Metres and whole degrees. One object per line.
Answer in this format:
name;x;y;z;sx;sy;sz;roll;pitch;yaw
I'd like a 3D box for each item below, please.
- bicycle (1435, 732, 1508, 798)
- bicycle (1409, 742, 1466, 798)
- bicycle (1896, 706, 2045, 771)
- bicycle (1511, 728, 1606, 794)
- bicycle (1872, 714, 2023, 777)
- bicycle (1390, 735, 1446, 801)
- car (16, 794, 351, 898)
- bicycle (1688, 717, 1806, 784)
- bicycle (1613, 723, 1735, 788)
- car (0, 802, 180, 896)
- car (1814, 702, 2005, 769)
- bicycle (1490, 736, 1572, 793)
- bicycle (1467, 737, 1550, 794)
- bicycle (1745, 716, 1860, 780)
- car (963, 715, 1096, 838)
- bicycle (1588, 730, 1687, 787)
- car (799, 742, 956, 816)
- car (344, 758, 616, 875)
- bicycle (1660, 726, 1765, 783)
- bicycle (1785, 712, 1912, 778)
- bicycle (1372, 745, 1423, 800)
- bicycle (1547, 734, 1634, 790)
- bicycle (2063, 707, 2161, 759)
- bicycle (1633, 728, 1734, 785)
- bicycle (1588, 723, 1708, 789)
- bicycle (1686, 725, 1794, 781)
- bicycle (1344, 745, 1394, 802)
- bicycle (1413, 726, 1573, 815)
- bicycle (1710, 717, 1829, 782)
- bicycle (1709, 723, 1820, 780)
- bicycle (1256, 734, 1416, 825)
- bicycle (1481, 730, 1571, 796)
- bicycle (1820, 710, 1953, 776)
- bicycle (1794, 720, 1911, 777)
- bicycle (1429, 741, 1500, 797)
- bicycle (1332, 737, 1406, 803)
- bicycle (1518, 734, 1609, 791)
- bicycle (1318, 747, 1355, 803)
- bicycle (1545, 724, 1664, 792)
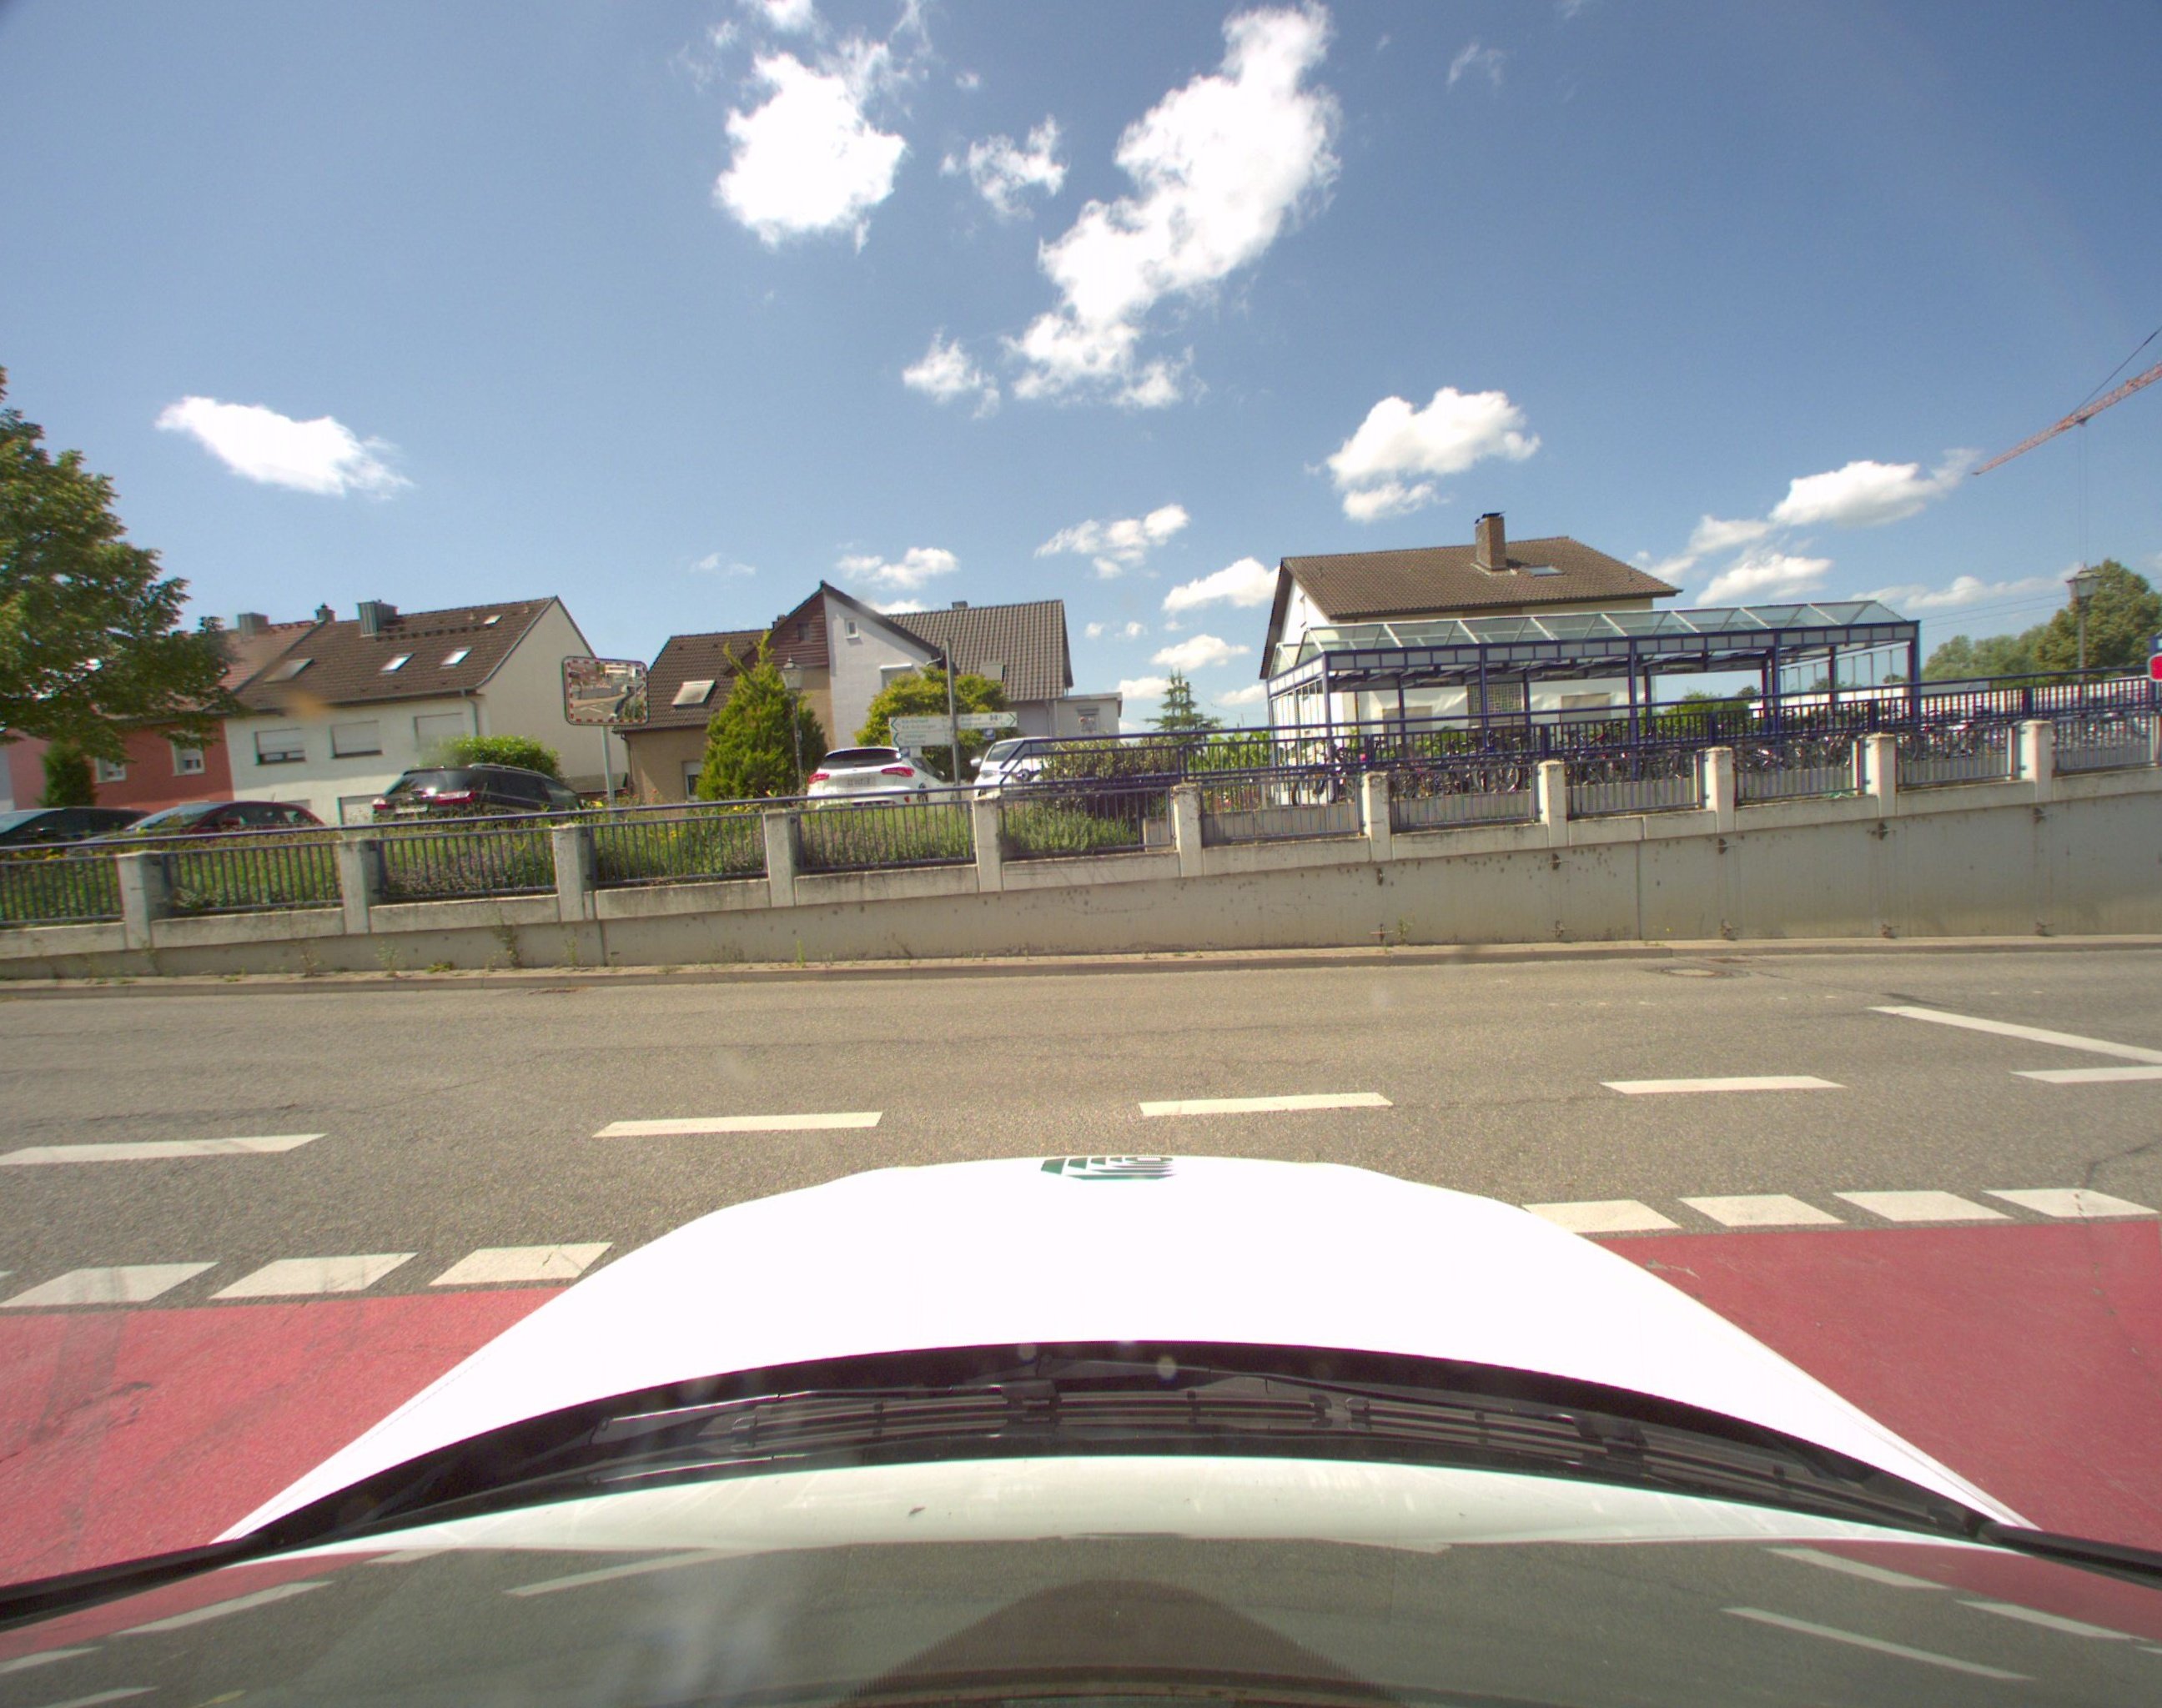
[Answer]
bicycle;6.645;-1.473;13.948;0.433;0.994;2.107;-3;3;7
bicycle;7.071;-1.646;16.243;0.371;0.994;1.968;-3;3;4
bicycle;16.603;-2.119;15.280;0.542;0.994;2.038;-3;3;-1
bicycle;8.321;-1.588;14.296;0.433;0.994;2.284;-3;3;3
bicycle;16.489;-2.028;15.588;0.436;0.994;2.158;-3;3;-6
bicycle;5.636;-1.402;13.699;0.432;0.994;2.109;-3;3;11
car;-15.427;-0.149;14.338;1.861;1.586;3.610;0;1;0
bicycle;11.719;-1.792;14.419;0.575;0.994;2.194;-3;3;9
bicycle;10.715;-1.754;14.829;0.531;0.994;2.186;-3;3;-3
car;-19.211;-0.092;14.682;1.861;1.586;3.610;0;1;0
car;26.936;-3.811;26.682;1.993;1.677;3.989;-4;3;-9
bicycle;9.023;-1.768;16.411;0.413;0.994;1.963;-3;3;-5
bicycle;8.548;-1.739;16.382;0.472;0.994;1.963;-3;3;-5
bicycle;13.143;-1.900;14.916;0.513;0.994;2.044;-3;3;8
car;-0.743;-1.202;14.244;1.987;1.797;4.197;0;1;0
bicycle;11.161;-1.893;16.419;0.518;0.994;1.963;-3;3;-5
car;-3.387;-1.235;14.207;1.819;1.019;3.460;0;1;0
car;-10.454;-0.610;14.617;1.861;1.797;4.000;0;1;0
bicycle;13.036;-2.025;16.885;0.518;0.994;1.963;-3;3;-5
bicycle;13.888;-1.938;14.822;0.513;0.994;2.042;-3;3;5
bicycle;6.334;-1.610;16.383;0.371;0.994;1.968;-3;3;4
bicycle;10.391;-1.861;16.690;0.518;0.994;1.799;-3;3;-5
bicycle;23.369;-2.688;18.095;0.510;0.994;2.021;-4;3;-8
bicycle;12.424;-1.989;16.871;0.518;0.994;1.963;-3;3;-5
bicycle;10.045;-1.701;14.543;0.531;0.994;2.186;-3;3;-3
bicycle;13.622;-2.060;16.909;0.518;0.994;1.963;-3;3;-5
bicycle;5.605;-1.545;15.929;0.371;0.994;1.968;-3;3;4
bicycle;5.787;-1.168;11.442;2.112;1.125;0.391;-4;3;-6
bicycle;12.449;-1.854;14.817;0.513;0.994;2.041;-3;3;3
bicycle;14.170;-2.095;16.960;0.518;0.994;1.963;-3;3;-5
bicycle;3.500;-1.021;11.180;2.112;1.125;0.332;-4;3;-7
bicycle;7.740;-1.553;14.275;0.433;0.994;2.284;-3;3;3
bicycle;14.698;-1.991;14.935;0.541;0.994;2.042;-3;3;5
bicycle;16.019;-2.170;16.992;0.542;0.994;2.040;-3;3;1
bicycle;7.698;-1.692;16.445;0.425;0.994;1.965;-3;3;-2
bicycle;4.939;-1.414;14.086;0.331;0.994;2.072;-3;3;-6
bicycle;9.732;-1.814;16.505;0.518;0.994;1.963;-3;3;-5
bicycle;4.924;-1.495;15.736;0.452;0.994;1.895;-3;3;12
bicycle;9.089;-1.631;14.265;0.531;0.994;2.279;-3;3;-2
